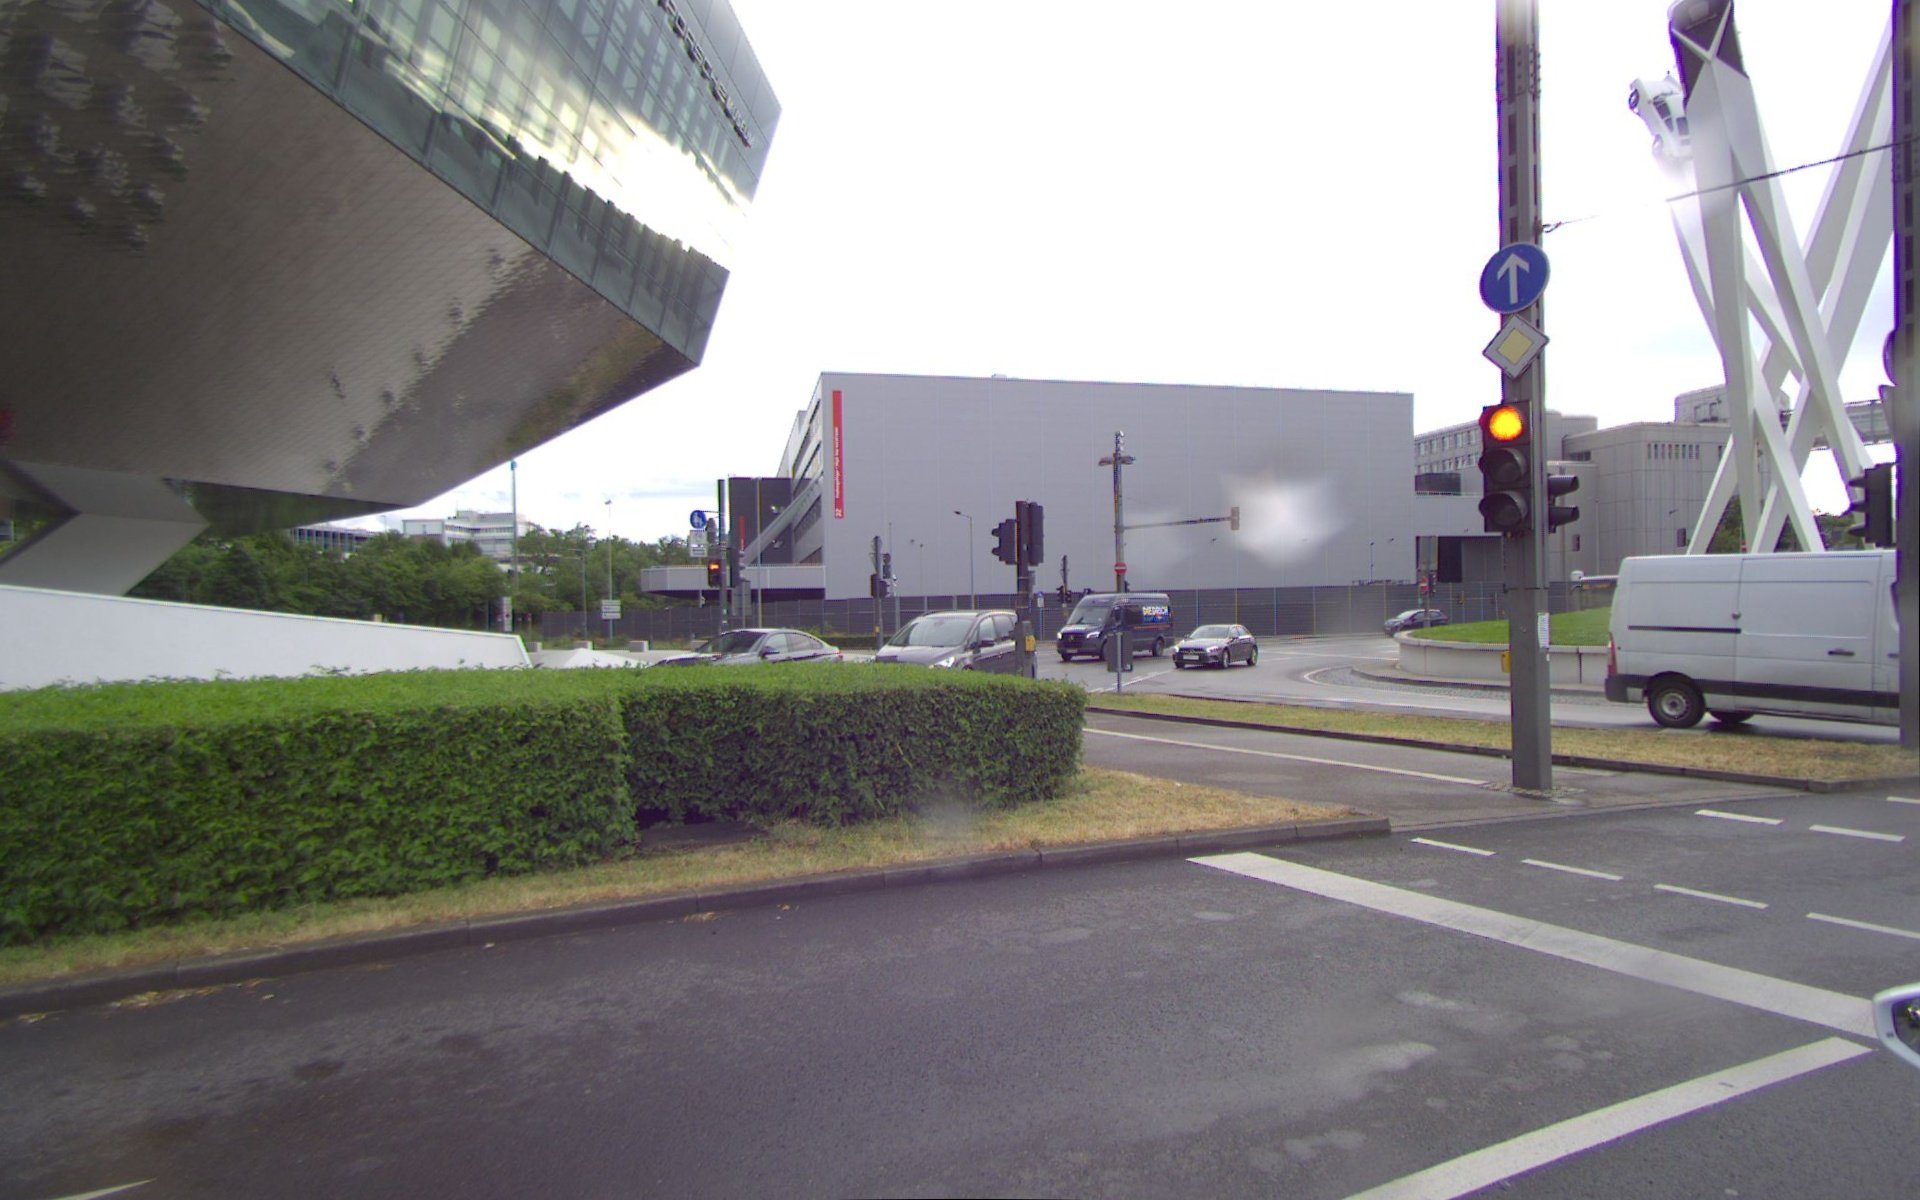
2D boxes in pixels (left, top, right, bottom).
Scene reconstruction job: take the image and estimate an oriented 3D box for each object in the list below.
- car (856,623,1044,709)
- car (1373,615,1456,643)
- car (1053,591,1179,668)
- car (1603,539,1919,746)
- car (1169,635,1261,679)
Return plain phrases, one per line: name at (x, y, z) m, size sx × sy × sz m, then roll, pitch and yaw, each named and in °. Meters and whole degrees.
car at (-0.029, 1.128, 18.697) m, size 1.804 × 1.356 × 4.483 m, roll 0°, pitch -1°, yaw 24°
car at (25.731, 1.632, 56.938) m, size 3.919 × 1.506 × 1.780 m, roll 0°, pitch 0°, yaw 7°
car at (6.478, 1.159, 40.862) m, size 1.942 × 2.858 × 7.100 m, roll 0°, pitch -1°, yaw 37°
car at (11.851, 0.531, 13.265) m, size 1.977 × 2.479 × 5.383 m, roll 0°, pitch -1°, yaw -30°
car at (8.903, 1.924, 34.857) m, size 1.619 × 1.356 × 4.057 m, roll 0°, pitch -1°, yaw 38°
